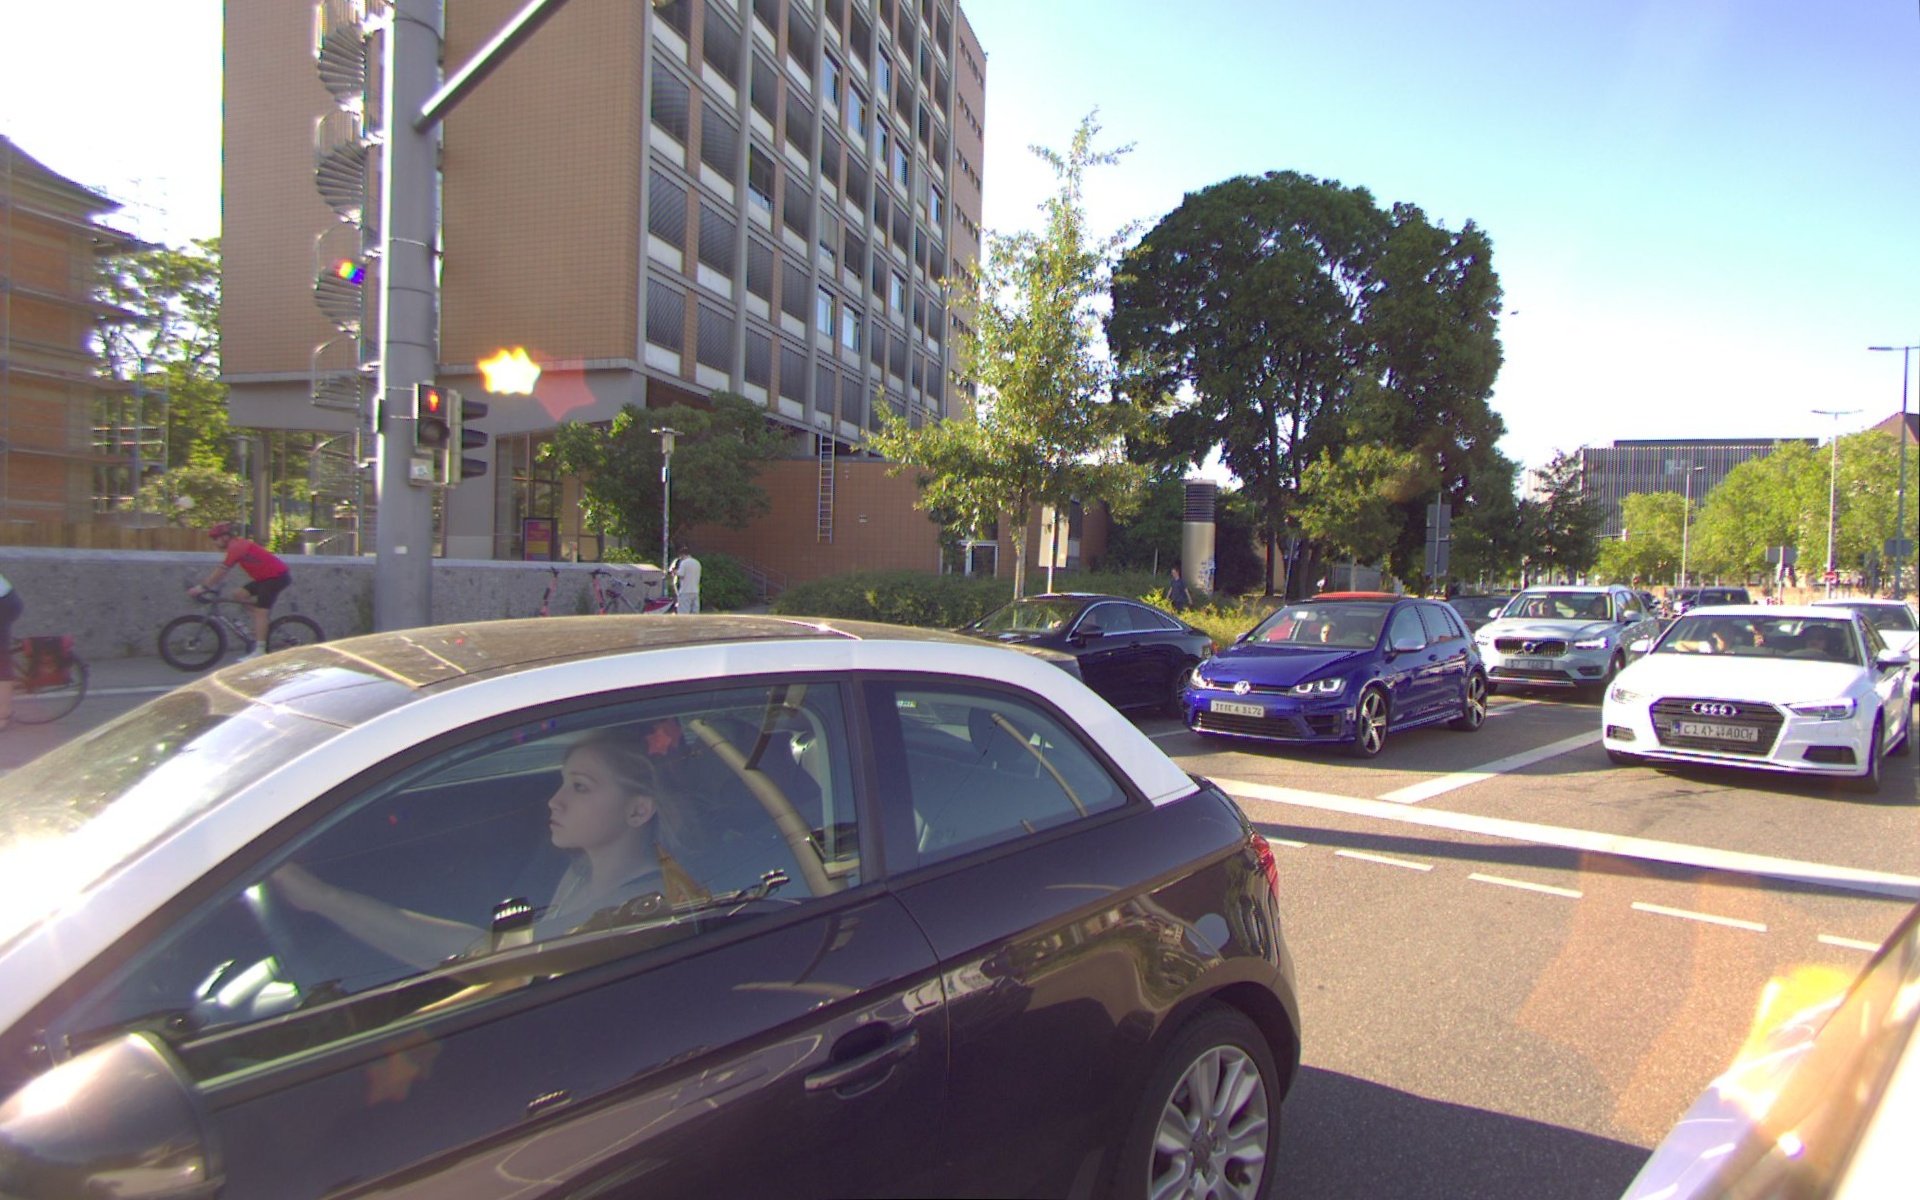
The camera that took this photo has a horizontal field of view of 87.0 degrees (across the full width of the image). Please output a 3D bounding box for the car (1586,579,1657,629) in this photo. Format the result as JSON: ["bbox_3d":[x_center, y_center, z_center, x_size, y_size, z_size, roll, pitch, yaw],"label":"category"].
[{"bbox_3d":[22.512,0.099,34.384,1.737,1.564,3.947,2,2,37],"label":"car"}]

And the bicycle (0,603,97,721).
[{"bbox_3d":[-8.624,0.539,8.523,0.658,0.975,2.004,0,1,42],"label":"bicycle"}]

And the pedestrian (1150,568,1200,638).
[{"bbox_3d":[5.562,0.063,26.160,1.004,1.742,0.874,0,1,37],"label":"pedestrian"}]

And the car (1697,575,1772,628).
[{"bbox_3d":[29.051,0.030,38.059,1.866,1.838,3.953,2,2,33],"label":"car"}]

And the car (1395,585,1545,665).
[{"bbox_3d":[10.618,0.435,20.934,3.977,1.478,1.624,-1,1,-45],"label":"car"}]

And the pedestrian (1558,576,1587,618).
[{"bbox_3d":[30.803,-0.165,50.849,1.136,2.039,1.269,0,1,37],"label":"pedestrian"}]

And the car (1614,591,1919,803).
[{"bbox_3d":[7.231,0.653,8.901,3.769,1.422,1.625,-1,1,-43],"label":"car"}]

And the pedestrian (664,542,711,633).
[{"bbox_3d":[-5.172,-0.255,19.204,0.592,1.660,0.677,-1,4,-44],"label":"pedestrian"}]

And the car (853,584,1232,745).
[{"bbox_3d":[1.090,0.549,11.288,4.437,1.422,1.725,-1,1,-44],"label":"car"}]

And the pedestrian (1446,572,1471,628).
[{"bbox_3d":[17.415,-0.011,35.377,0.681,1.910,0.465,-1,1,-25],"label":"pedestrian"}]

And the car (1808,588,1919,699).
[{"bbox_3d":[14.152,0.569,15.554,1.622,1.478,3.981,0,1,42],"label":"car"}]

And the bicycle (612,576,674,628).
[{"bbox_3d":[-6.271,0.036,20.031,1.133,1.016,0.357,0,1,-13],"label":"bicycle"}]

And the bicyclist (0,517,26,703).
[{"bbox_3d":[-8.530,0.088,8.625,0.666,1.572,0.782,0,1,43],"label":"bicyclist"}]

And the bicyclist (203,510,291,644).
[{"bbox_3d":[-8.805,-0.284,12.509,0.855,1.580,0.617,-1,1,-37],"label":"bicyclist"}]

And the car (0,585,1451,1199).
[{"bbox_3d":[-0.673,0.696,1.981,3.932,1.422,1.626,-1,1,-43],"label":"car"}]

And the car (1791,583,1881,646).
[{"bbox_3d":[24.186,0.339,28.053,1.738,1.564,3.943,3,2,40],"label":"car"}]

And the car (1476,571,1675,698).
[{"bbox_3d":[9.280,0.402,15.113,4.156,1.641,1.624,-1,1,-45],"label":"car"}]

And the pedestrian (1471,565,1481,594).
[{"bbox_3d":[29.346,-1.170,57.560,0.542,1.626,0.599,0,1,28],"label":"pedestrian"}]

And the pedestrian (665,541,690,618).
[{"bbox_3d":[-6.559,-0.474,23.502,0.441,1.754,0.372,0,1,34],"label":"pedestrian"}]

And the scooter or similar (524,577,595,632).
[{"bbox_3d":[-7.617,0.069,19.282,0.339,1.008,1.359,0,1,28],"label":"scooter or similar"}]

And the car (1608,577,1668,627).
[{"bbox_3d":[27.091,0.045,40.513,1.866,1.838,3.953,2,2,33],"label":"car"}]

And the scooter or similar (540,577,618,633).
[{"bbox_3d":[-7.083,0.075,18.848,0.341,1.008,1.352,0,1,41],"label":"scooter or similar"}]

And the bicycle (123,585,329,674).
[{"bbox_3d":[-8.958,0.328,12.431,1.997,0.975,0.660,-1,3,-37],"label":"bicycle"}]

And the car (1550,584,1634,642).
[{"bbox_3d":[18.714,0.324,29.890,1.737,1.543,3.946,2,2,37],"label":"car"}]

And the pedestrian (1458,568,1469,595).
[{"bbox_3d":[28.781,-1.041,57.795,0.542,1.549,0.599,0,1,28],"label":"pedestrian"}]

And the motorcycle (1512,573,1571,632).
[{"bbox_3d":[13.595,0.030,23.632,0.715,1.321,2.200,0,1,43],"label":"motorcycle"}]

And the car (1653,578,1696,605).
[{"bbox_3d":[50.267,-0.624,71.232,1.862,1.838,3.962,2,2,27],"label":"car"}]

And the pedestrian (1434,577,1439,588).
[{"bbox_3d":[63.704,-2.333,135.333,0.477,1.503,0.409,0,2,-42],"label":"pedestrian"}]

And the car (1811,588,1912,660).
[{"bbox_3d":[20.672,0.471,23.322,1.621,1.478,3.984,0,1,40],"label":"car"}]

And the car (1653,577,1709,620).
[{"bbox_3d":[33.281,-0.111,46.791,1.866,1.838,3.953,2,2,33],"label":"car"}]

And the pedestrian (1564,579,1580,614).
[{"bbox_3d":[28.194,-0.156,46.628,0.593,1.614,0.586,0,1,39],"label":"pedestrian"}]

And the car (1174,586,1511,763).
[{"bbox_3d":[4.004,0.588,10.274,3.932,1.422,1.626,-1,1,-43],"label":"car"}]

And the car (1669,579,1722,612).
[{"bbox_3d":[43.428,-0.303,59.817,1.862,1.838,3.962,2,2,27],"label":"car"}]

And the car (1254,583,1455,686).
[{"bbox_3d":[6.559,0.467,16.621,3.977,1.478,1.624,-1,1,-45],"label":"car"}]

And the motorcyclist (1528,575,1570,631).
[{"bbox_3d":[14.055,0.061,24.143,0.715,1.321,0.724,0,1,43],"label":"motorcyclist"}]
